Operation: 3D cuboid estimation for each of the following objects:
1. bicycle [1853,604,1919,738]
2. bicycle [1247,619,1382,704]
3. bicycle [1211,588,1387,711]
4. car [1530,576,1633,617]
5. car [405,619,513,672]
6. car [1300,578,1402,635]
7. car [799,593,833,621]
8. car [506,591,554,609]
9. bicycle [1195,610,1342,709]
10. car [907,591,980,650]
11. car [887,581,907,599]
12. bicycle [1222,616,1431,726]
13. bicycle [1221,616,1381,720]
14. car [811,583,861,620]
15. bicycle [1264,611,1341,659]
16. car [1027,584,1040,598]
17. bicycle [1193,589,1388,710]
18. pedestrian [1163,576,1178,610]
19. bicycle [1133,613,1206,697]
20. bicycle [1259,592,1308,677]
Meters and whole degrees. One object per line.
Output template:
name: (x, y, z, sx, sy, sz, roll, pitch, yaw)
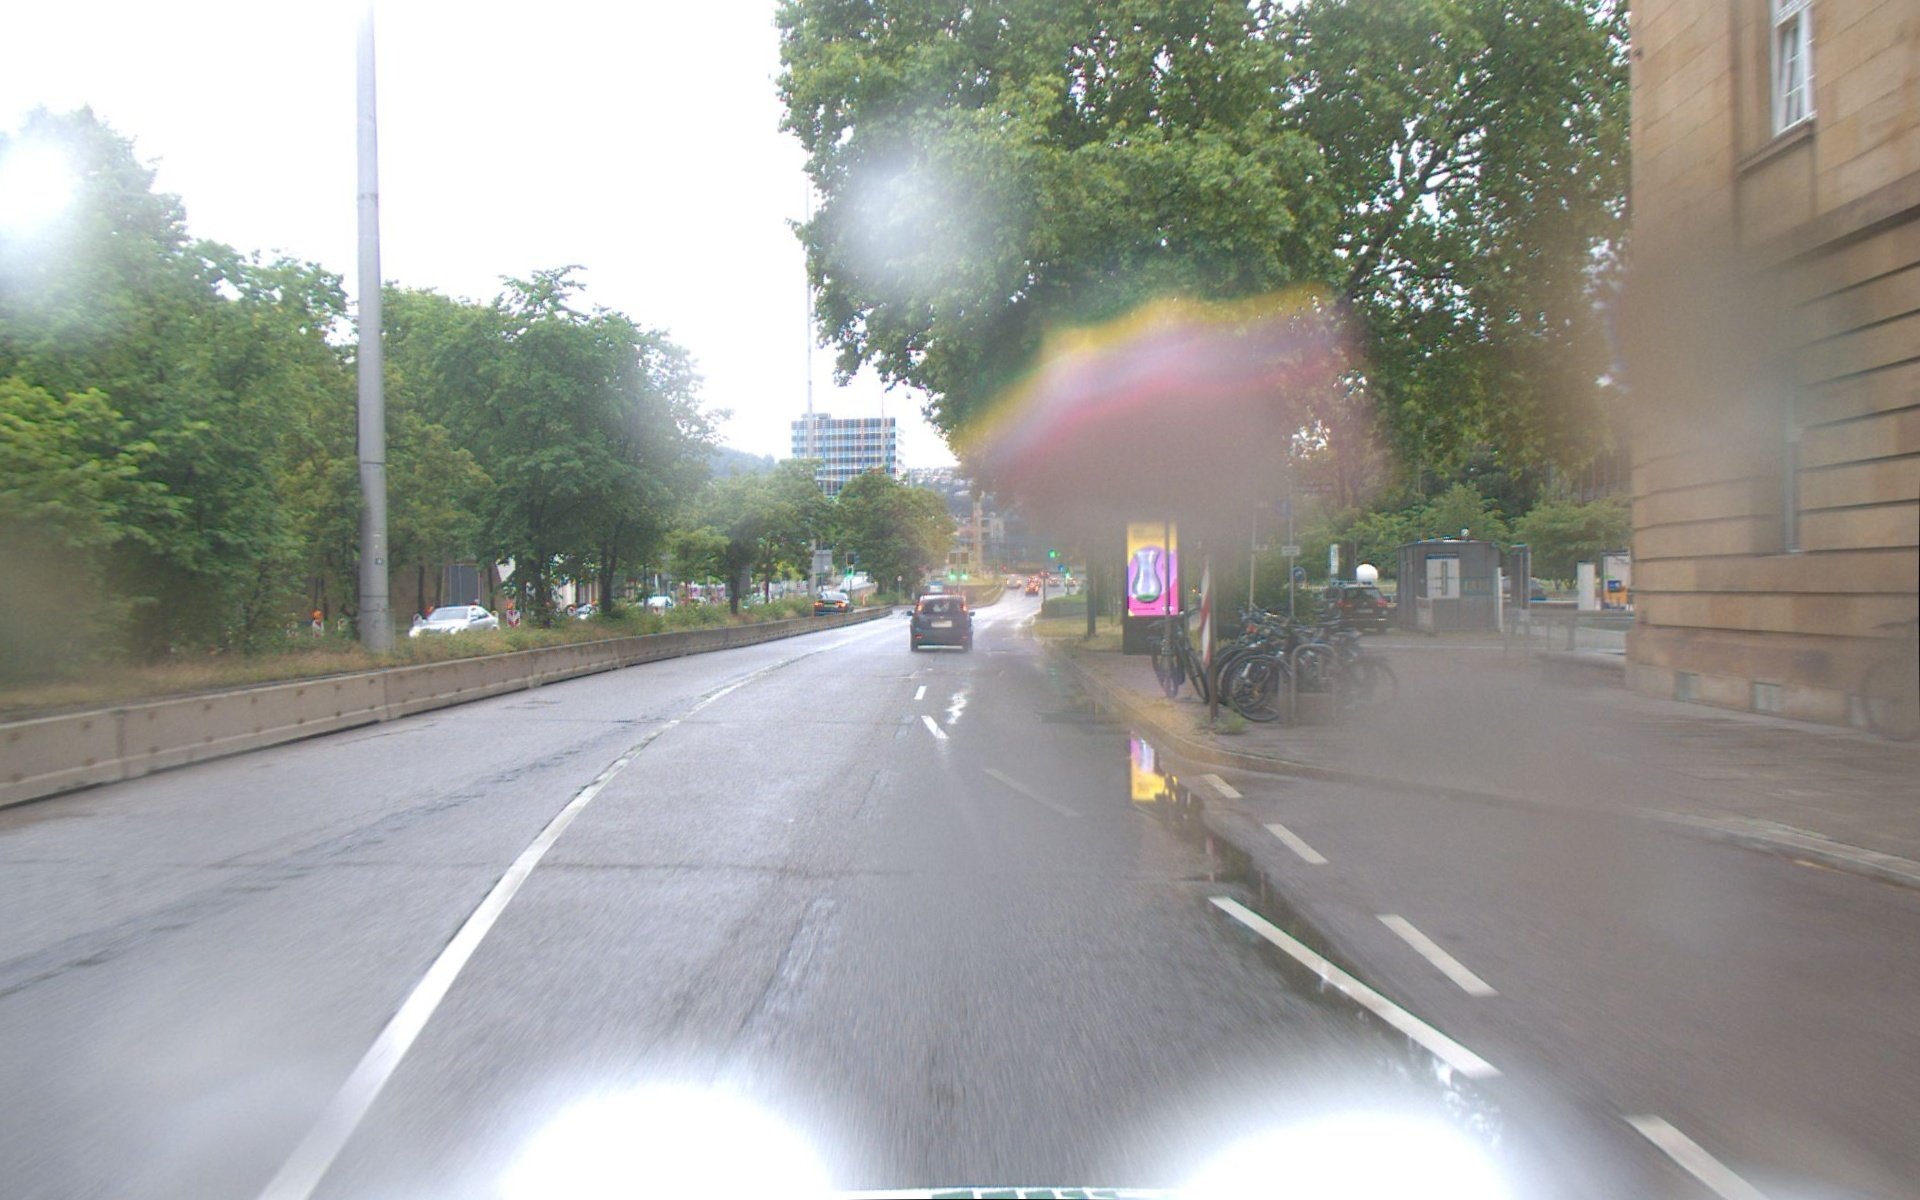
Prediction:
bicycle: (8.079, 0.580, 13.701, 0.345, 1.099, 1.789, -2, -1, 0)
bicycle: (4.356, 0.747, 20.364, 1.556, 1.012, 0.525, -1, 0, 3)
bicycle: (3.827, 0.553, 18.757, 1.866, 1.356, 0.651, -1, 0, 3)
car: (27.389, -0.145, 72.957, 3.903, 1.628, 1.657, -2, 0, 4)
car: (-16.984, 1.522, 56.360, 1.952, 1.653, 4.810, -3, -1, 3)
car: (12.207, 0.162, 51.957, 1.953, 1.637, 5.236, -1, 1, 0)
car: (-7.864, 0.390, 90.406, 1.719, 1.477, 3.997, -1, 0, -3)
car: (-40.031, -0.012, 154.185, 3.905, 1.624, 2.000, -1, 0, 0)
bicycle: (3.652, 0.697, 19.637, 1.644, 1.142, 0.602, -1, 0, 3)
car: (-0.472, 0.553, 44.014, 1.807, 1.441, 3.837, -3, -1, -2)
car: (-6.157, -0.965, 161.840, 1.953, 1.661, 3.998, -1, 0, -2)
bicycle: (3.714, 0.710, 16.869, 1.945, 1.078, 0.759, -1, 0, -2)
bicycle: (3.762, 0.746, 18.328, 1.644, 1.109, 0.651, -1, 0, 3)
car: (-6.358, 0.073, 85.141, 1.952, 1.812, 4.002, -1, 0, 4)
bicycle: (7.644, 0.775, 36.947, 1.606, 1.038, 0.575, 1, -1, 6)
car: (10.417, -1.215, 233.827, 1.702, 1.802, 4.002, -3, -1, 4)
bicycle: (3.818, 0.569, 19.231, 2.145, 1.360, 0.651, -1, 0, 3)
pedestrian: (11.333, -0.378, 89.152, 0.690, 1.748, 0.693, -3, 0, 3)
bicycle: (2.626, 0.665, 20.605, 0.655, 0.984, 1.638, -1, 0, 16)
bicycle: (4.883, 0.511, 25.044, 0.592, 1.218, 1.906, -3, -1, 8)
